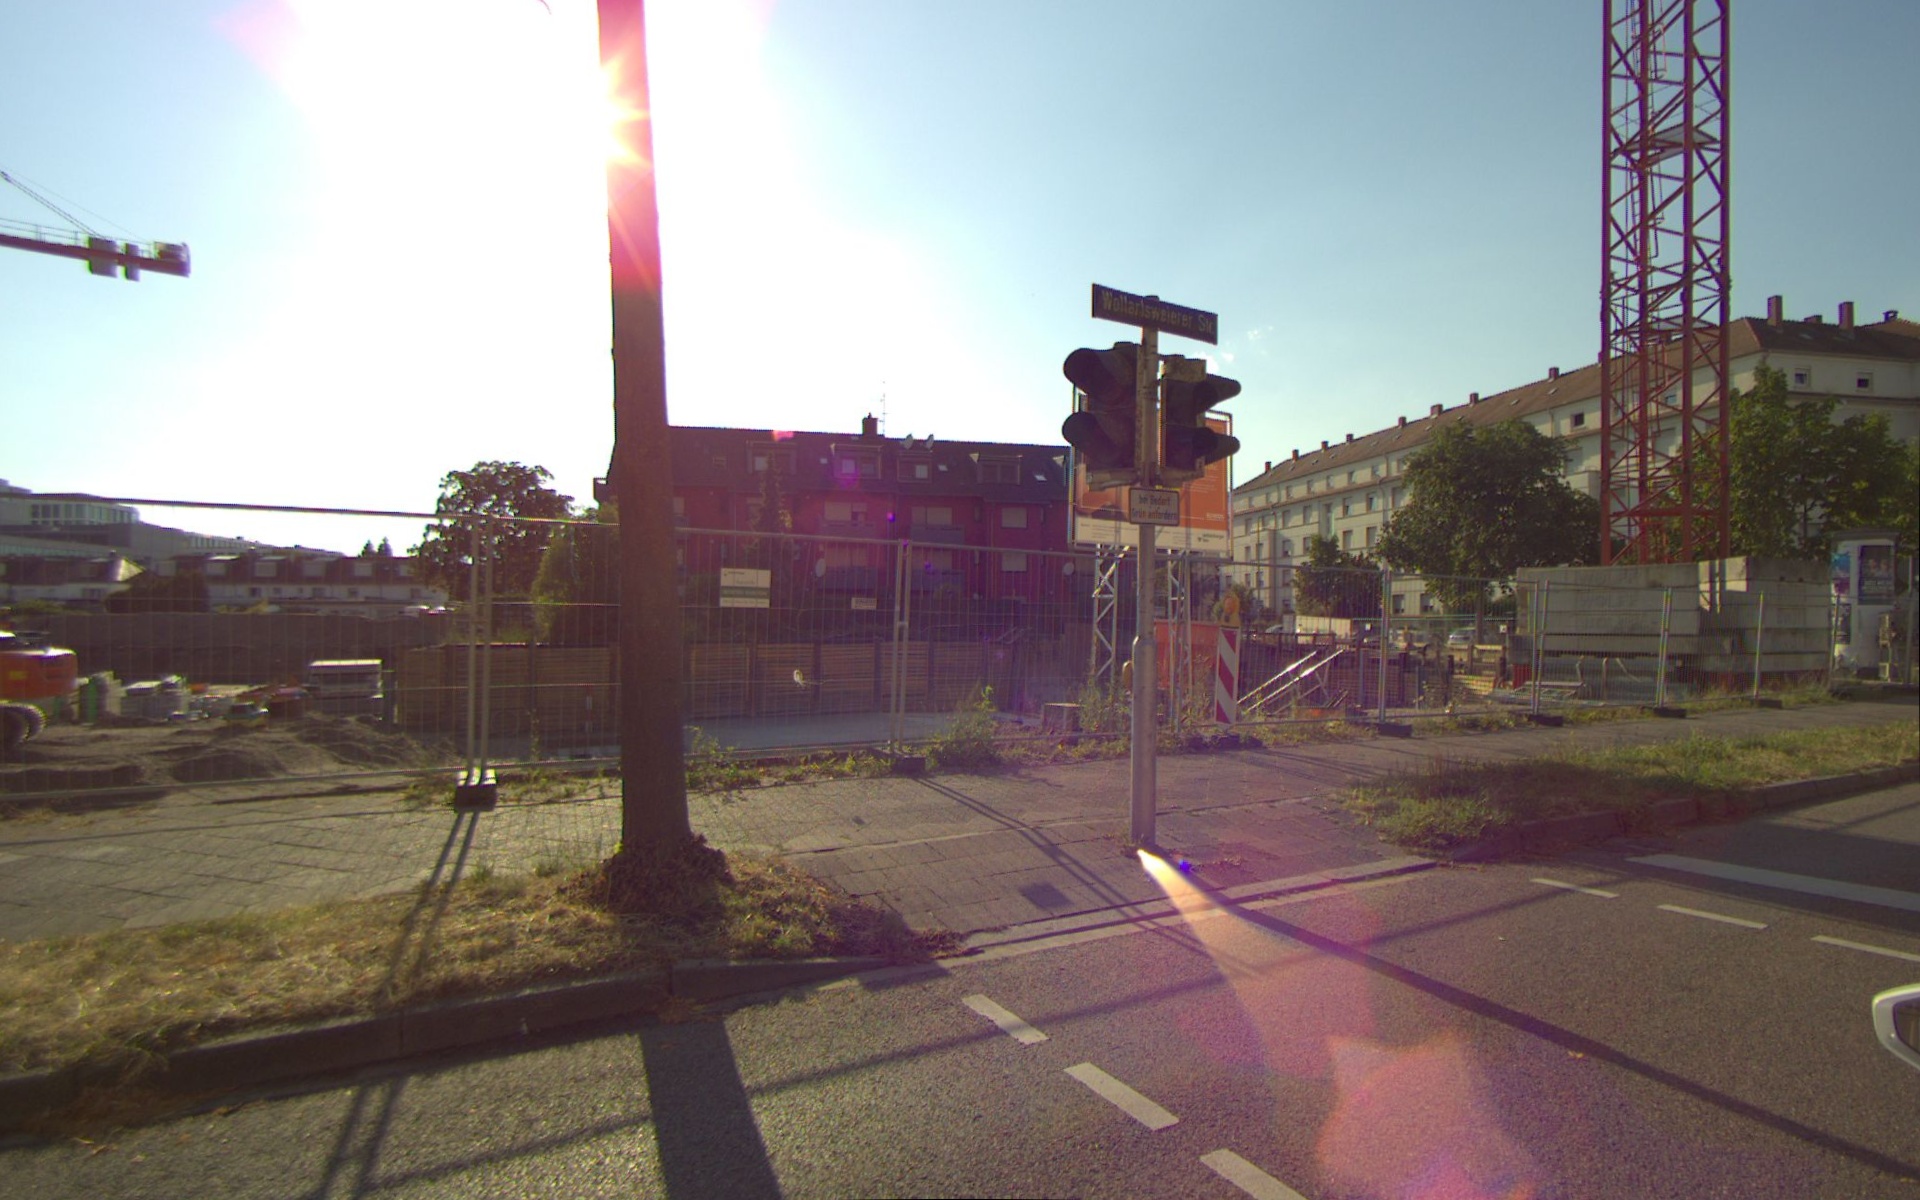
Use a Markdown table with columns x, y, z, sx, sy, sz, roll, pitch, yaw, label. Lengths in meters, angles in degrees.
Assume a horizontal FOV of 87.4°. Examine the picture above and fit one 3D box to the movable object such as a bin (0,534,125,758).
| x | y | z | sx | sy | sz | roll | pitch | yaw | label |
| --- | --- | --- | --- | --- | --- | --- | --- | --- | --- |
| -27.468 | 0.844 | 22.961 | 12.049 | 5.131 | 4.078 | 2 | 0 | -23 | movable object such as a bin |
